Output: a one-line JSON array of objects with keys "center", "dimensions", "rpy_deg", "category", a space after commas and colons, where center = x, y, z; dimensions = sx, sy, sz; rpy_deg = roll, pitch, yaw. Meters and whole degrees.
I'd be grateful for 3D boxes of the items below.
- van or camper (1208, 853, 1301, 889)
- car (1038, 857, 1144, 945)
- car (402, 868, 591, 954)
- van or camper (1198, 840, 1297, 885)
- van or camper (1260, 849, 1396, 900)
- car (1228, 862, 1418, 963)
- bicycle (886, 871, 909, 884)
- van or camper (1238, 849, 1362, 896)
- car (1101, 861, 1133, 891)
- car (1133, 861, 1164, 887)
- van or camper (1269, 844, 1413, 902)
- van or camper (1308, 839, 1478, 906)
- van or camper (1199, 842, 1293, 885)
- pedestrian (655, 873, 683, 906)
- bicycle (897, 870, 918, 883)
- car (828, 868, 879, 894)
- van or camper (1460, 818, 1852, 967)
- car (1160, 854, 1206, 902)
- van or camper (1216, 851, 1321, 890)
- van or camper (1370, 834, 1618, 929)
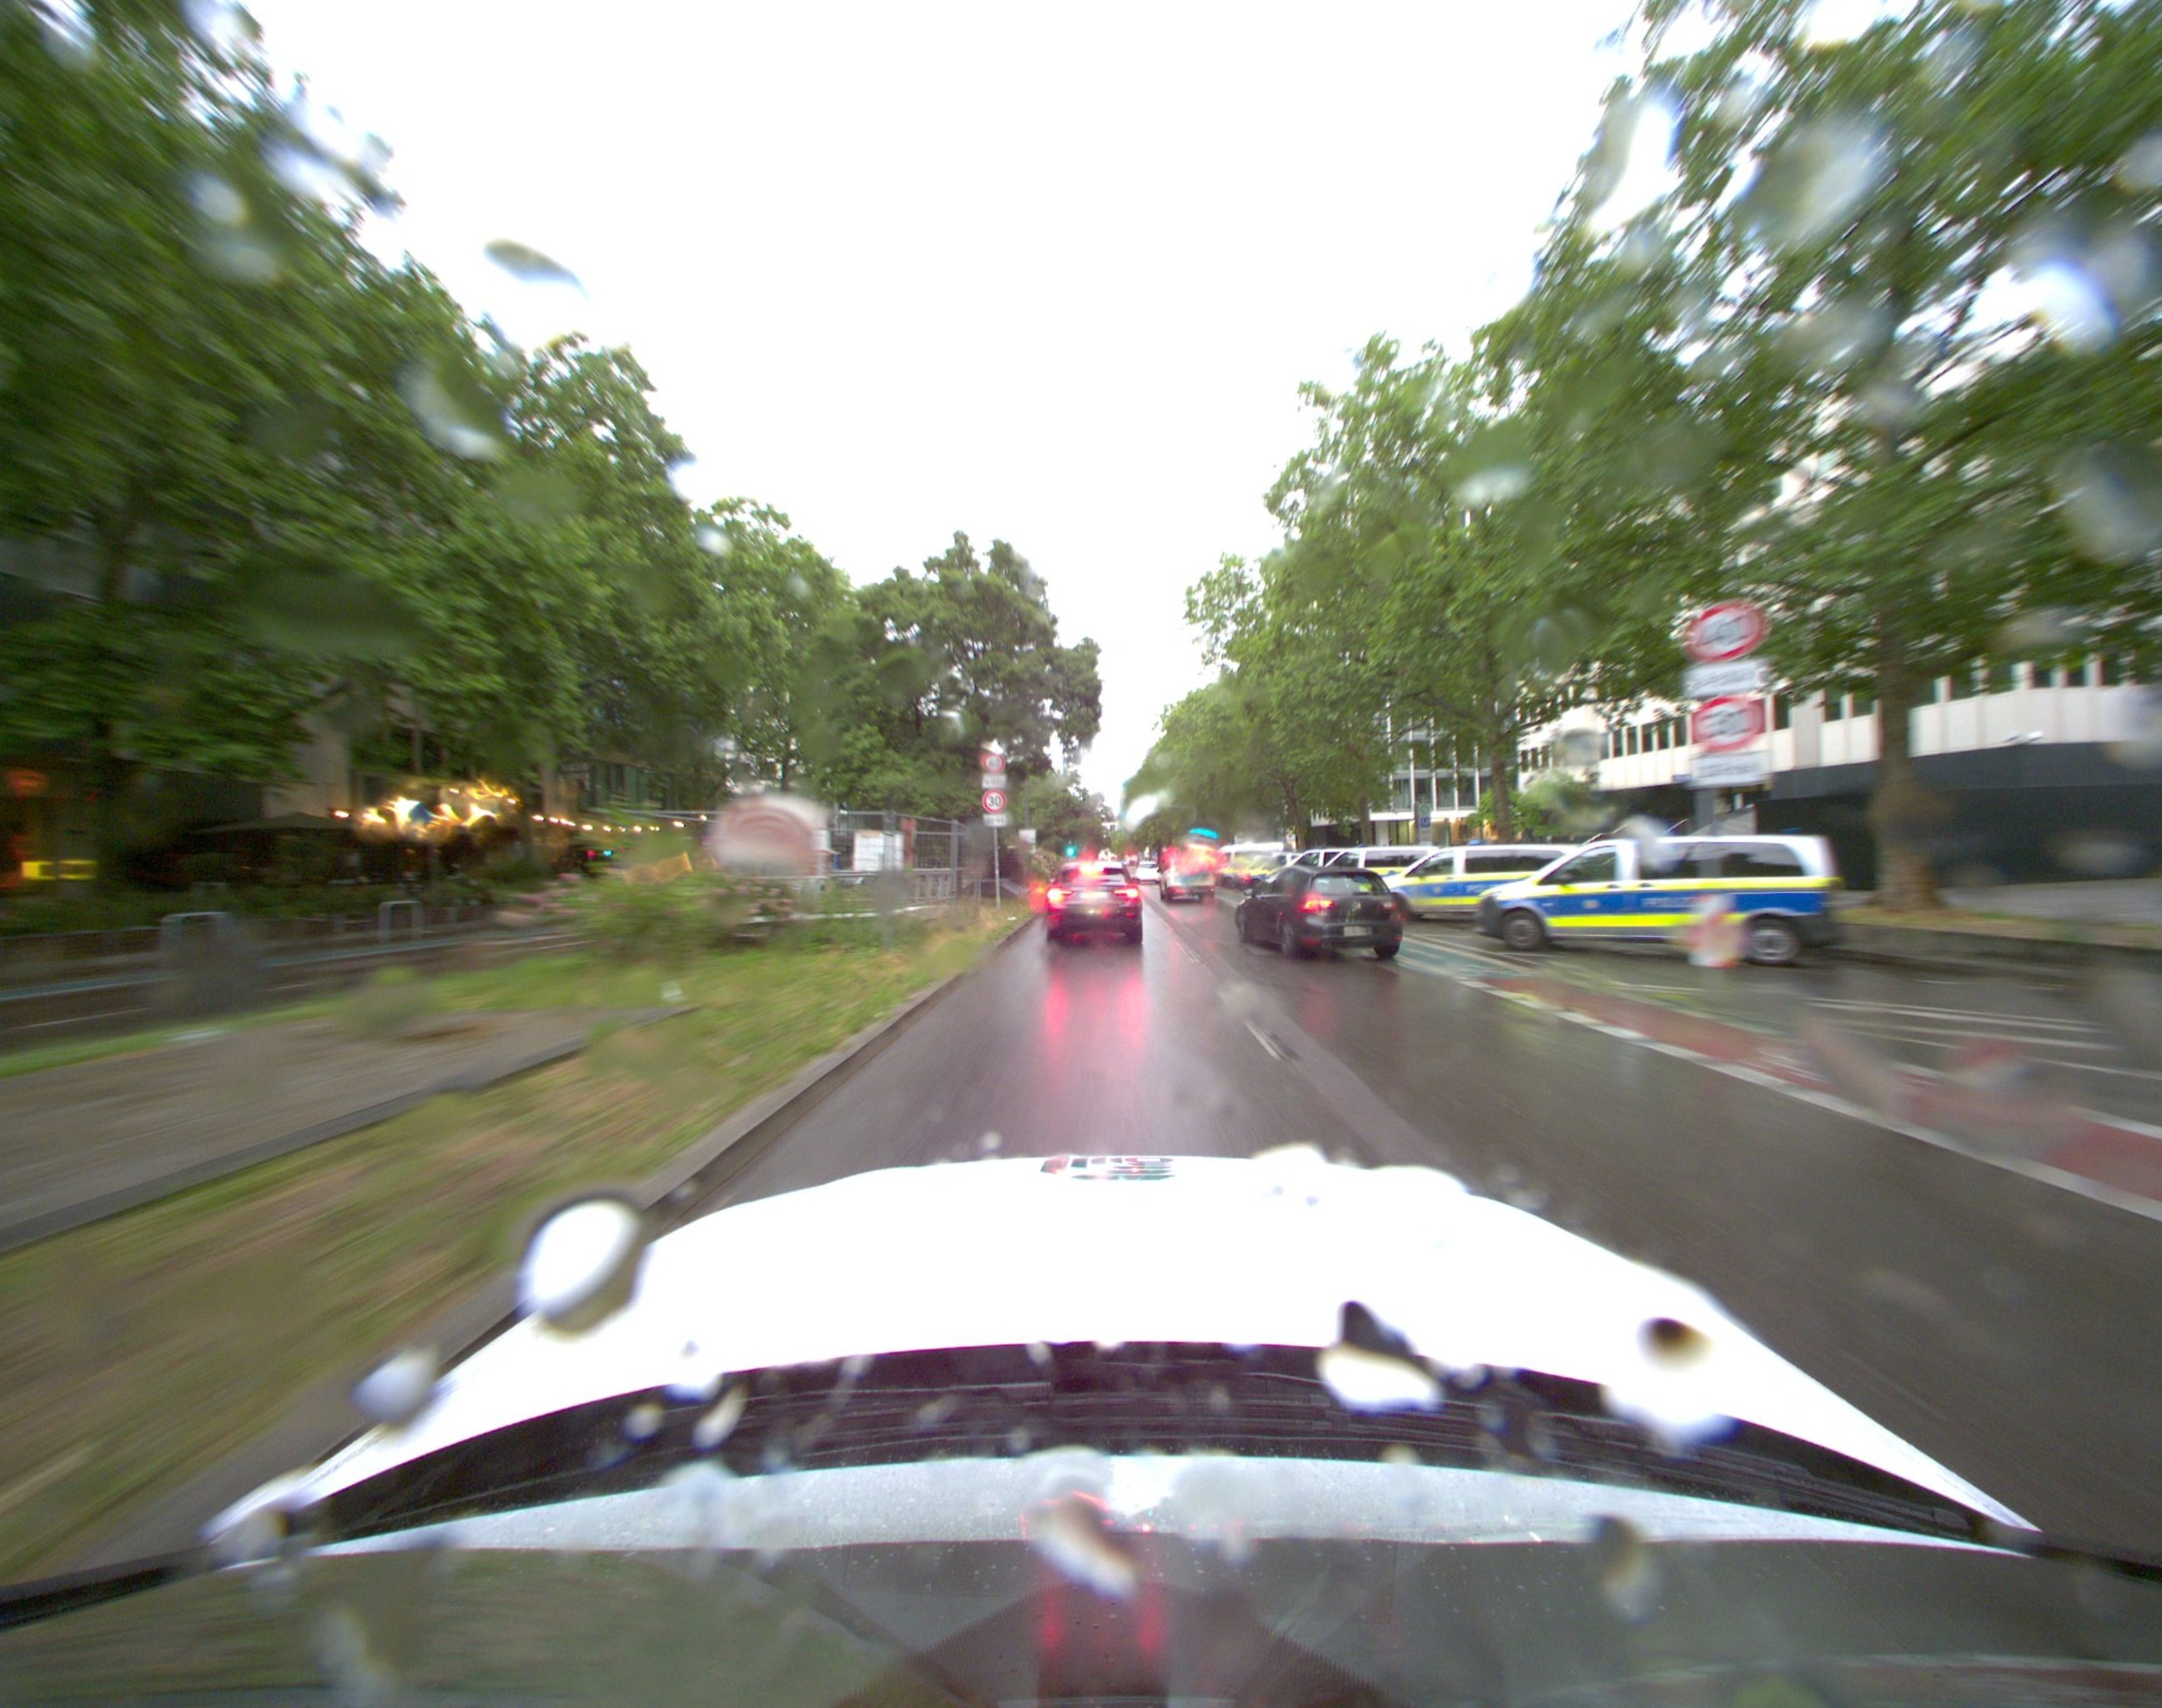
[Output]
[{"center": [10.177, 1.017, 48.074], "dimensions": [4.952, 2.014, 2.012], "rpy_deg": [-2, -2, 37], "category": "van or camper"}, {"center": [0.308, 0.860, 16.758], "dimensions": [1.855, 1.532, 4.530], "rpy_deg": [-1, -1, 3], "category": "car"}, {"center": [-12.725, 1.148, 18.112], "dimensions": [1.720, 1.626, 4.423], "rpy_deg": [0, -1, -11], "category": "car"}, {"center": [10.443, 0.548, 51.279], "dimensions": [5.736, 2.680, 2.013], "rpy_deg": [-2, -1, 37], "category": "van or camper"}, {"center": [10.189, 0.867, 33.736], "dimensions": [4.959, 1.995, 2.013], "rpy_deg": [-2, -1, 34], "category": "van or camper"}, {"center": [3.908, 0.878, 13.916], "dimensions": [1.762, 1.413, 3.993], "rpy_deg": [-2, -1, -5], "category": "car"}, {"center": [-16.010, 2.029, 71.176], "dimensions": [1.842, 1.098, 0.613], "rpy_deg": [-1, -1, -7], "category": "bicycle"}, {"center": [10.050, 0.839, 37.612], "dimensions": [5.042, 2.025, 2.119], "rpy_deg": [-2, -1, 39], "category": "van or camper"}, {"center": [2.036, 1.218, 46.777], "dimensions": [1.715, 1.577, 3.963], "rpy_deg": [-1, -1, 2], "category": "car"}, {"center": [4.753, 1.398, 57.526], "dimensions": [1.986, 1.750, 4.002], "rpy_deg": [-2, -1, 2], "category": "car"}, {"center": [9.694, 0.703, 30.537], "dimensions": [4.732, 2.011, 2.013], "rpy_deg": [-2, -2, 38], "category": "van or camper"}, {"center": [10.035, 0.598, 26.414], "dimensions": [4.792, 1.998, 1.879], "rpy_deg": [-2, -1, 38], "category": "van or camper"}, {"center": [10.921, 0.659, 54.081], "dimensions": [5.741, 2.678, 2.161], "rpy_deg": [-2, -1, 39], "category": "van or camper"}, {"center": [-18.167, 1.552, 35.913], "dimensions": [0.761, 1.380, 0.933], "rpy_deg": [-1, -1, -1], "category": "pedestrian"}, {"center": [-15.990, 2.063, 75.055], "dimensions": [1.819, 1.097, 0.565], "rpy_deg": [-1, -1, -6], "category": "bicycle"}, {"center": [-14.672, 1.707, 52.831], "dimensions": [1.987, 1.509, 4.517], "rpy_deg": [-2, -1, 0], "category": "car"}, {"center": [9.043, 0.553, 13.222], "dimensions": [4.884, 1.992, 2.015], "rpy_deg": [-1, -1, 40], "category": "van or camper"}, {"center": [3.811, 0.884, 30.807], "dimensions": [1.427, 1.685, 2.980], "rpy_deg": [-2, -1, 2], "category": "car"}, {"center": [10.164, 0.897, 44.336], "dimensions": [5.142, 1.992, 2.013], "rpy_deg": [-1, -2, 36], "category": "van or camper"}, {"center": [9.812, 0.608, 19.584], "dimensions": [5.023, 2.019, 2.009], "rpy_deg": [0, -1, 38], "category": "van or camper"}]
